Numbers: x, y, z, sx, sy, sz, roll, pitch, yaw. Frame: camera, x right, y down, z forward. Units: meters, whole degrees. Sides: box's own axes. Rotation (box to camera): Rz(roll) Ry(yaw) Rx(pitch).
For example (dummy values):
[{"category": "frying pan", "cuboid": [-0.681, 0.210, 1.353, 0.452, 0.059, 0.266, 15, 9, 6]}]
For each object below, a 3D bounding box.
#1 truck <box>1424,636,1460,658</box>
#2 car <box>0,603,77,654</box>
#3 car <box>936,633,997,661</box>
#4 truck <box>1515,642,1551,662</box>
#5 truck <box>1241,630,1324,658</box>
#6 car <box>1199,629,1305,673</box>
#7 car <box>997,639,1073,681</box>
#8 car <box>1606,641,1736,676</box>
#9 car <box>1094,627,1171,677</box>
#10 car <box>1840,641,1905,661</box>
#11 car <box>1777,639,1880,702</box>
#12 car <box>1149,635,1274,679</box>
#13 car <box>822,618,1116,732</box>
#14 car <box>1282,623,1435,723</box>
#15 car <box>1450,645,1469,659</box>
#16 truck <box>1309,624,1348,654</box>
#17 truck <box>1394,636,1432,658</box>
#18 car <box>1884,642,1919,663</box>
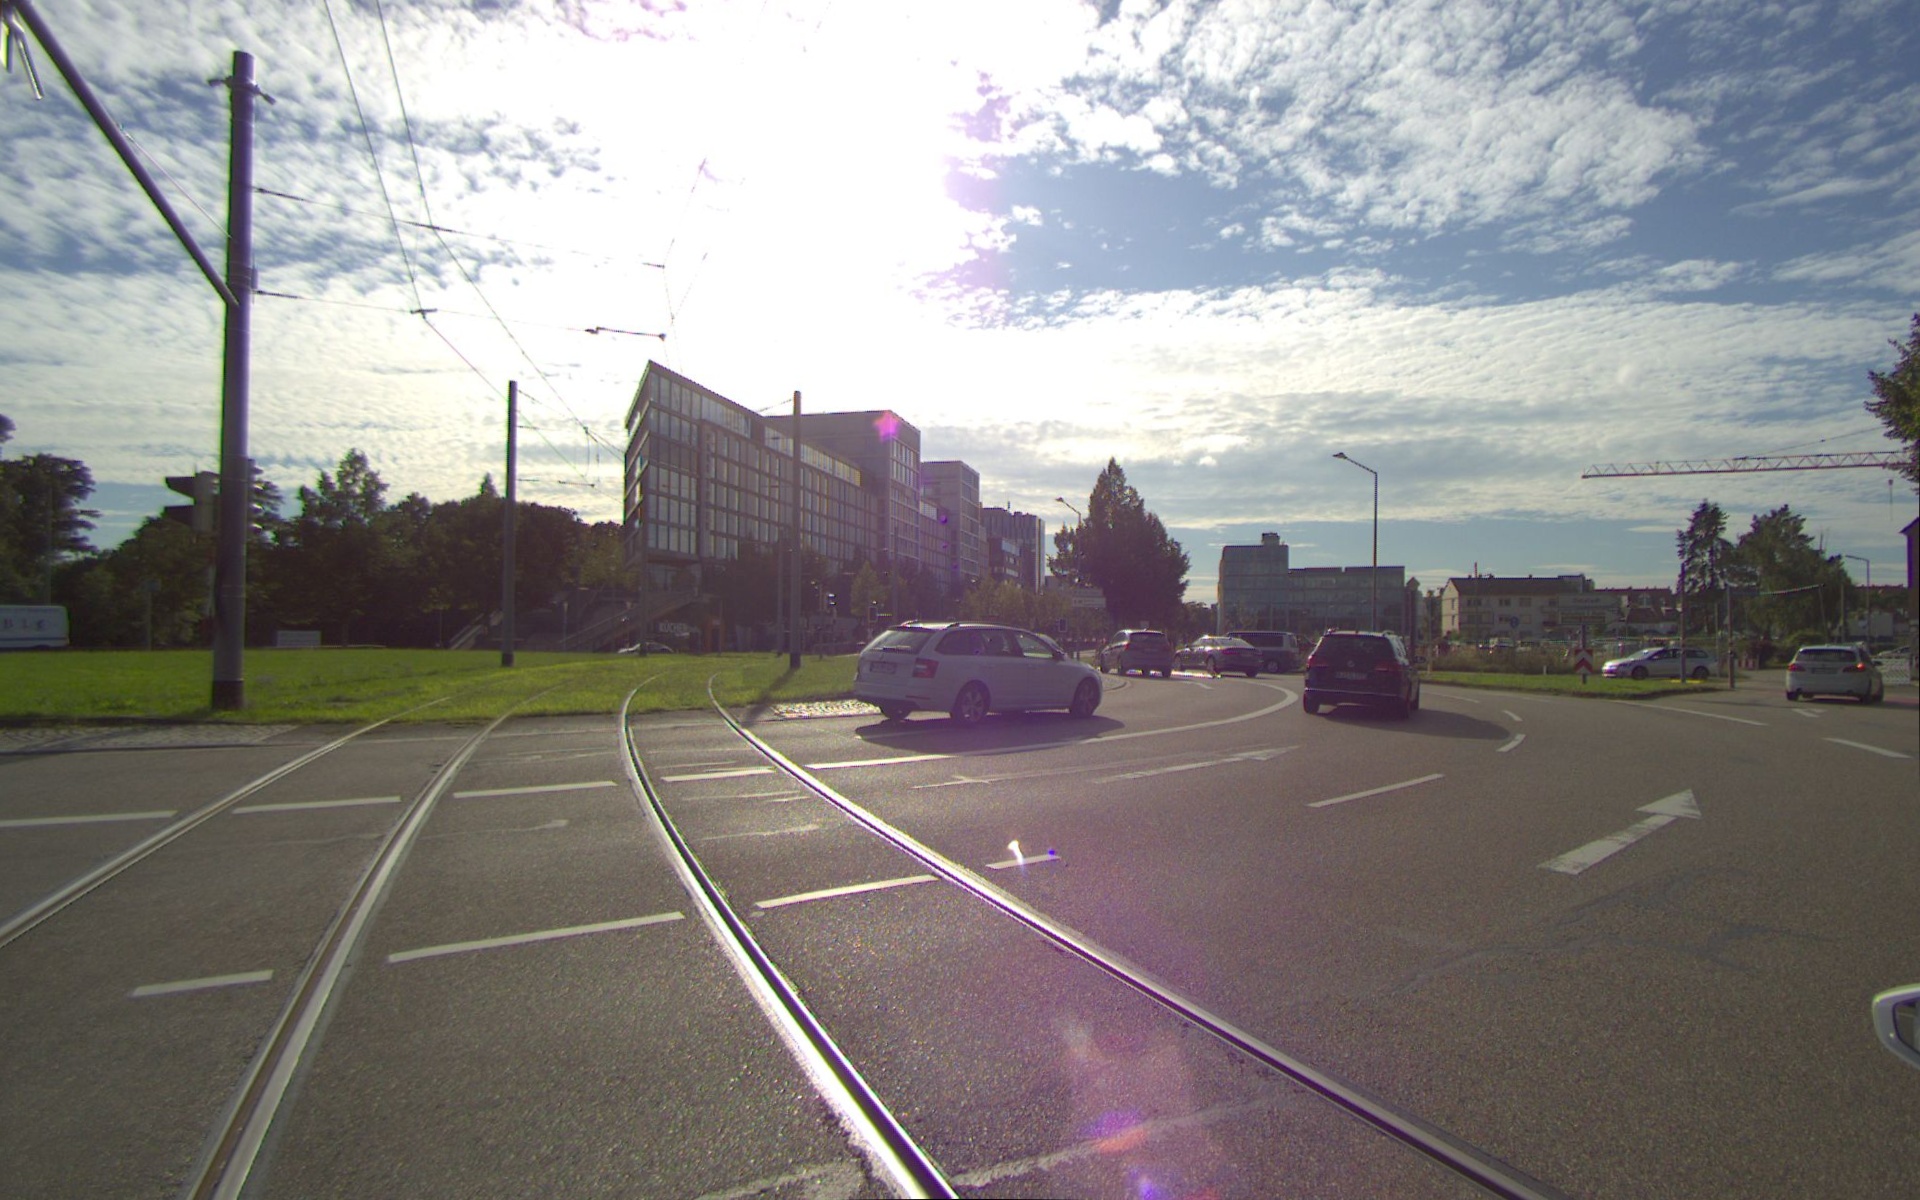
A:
[{"category": "truck", "cuboid": [52.828, 5.140, 110.094, 2.021, 2.358, 5.643, 1, -2, 9]}, {"category": "car", "cuboid": [-44.838, 1.303, 46.195, 2.030, 2.293, 6.013, -3, -4, 30]}, {"category": "car", "cuboid": [0.346, 2.789, 60.468, 1.832, 1.497, 4.425, 2, -1, -26]}, {"category": "truck", "cuboid": [66.074, 6.011, 115.961, 1.940, 2.200, 5.410, 0, -2, 10]}, {"category": "truck", "cuboid": [32.291, 4.402, 100.963, 7.700, 2.601, 3.077, 0, -2, 13]}, {"category": "car", "cuboid": [14.080, 2.428, 48.510, 4.582, 1.928, 1.897, 1, -1, 34]}, {"category": "car", "cuboid": [3.278, 2.641, 44.684, 1.969, 1.561, 3.983, 2, 0, -19]}, {"category": "car", "cuboid": [31.161, 2.554, 44.108, 4.452, 1.471, 1.824, 1, -2, 0]}, {"category": "car", "cuboid": [5.914, 1.755, 34.874, 1.739, 1.593, 4.066, 1, -1, -3]}, {"category": "car", "cuboid": [76.767, 4.277, 84.601, 3.941, 1.639, 1.765, -1, -3, 41]}, {"category": "car", "cuboid": [25.001, 1.958, 28.857, 4.424, 1.593, 1.833, 2, -1, -44]}, {"category": "car", "cuboid": [9.585, 2.141, 38.632, 1.882, 1.450, 4.617, 2, -1, -34]}, {"category": "car", "cuboid": [0.289, 1.062, 15.453, 1.832, 1.464, 4.609, 0, -1, 45]}, {"category": "car", "cuboid": [7.671, 1.280, 19.015, 1.965, 1.587, 4.835, 1, -1, 30]}, {"category": "car", "cuboid": [72.033, 7.501, 144.837, 1.960, 1.884, 4.001, 0, -2, 19]}, {"category": "truck", "cuboid": [40.959, 4.356, 111.788, 2.759, 3.249, 7.322, 1, -2, 9]}, {"category": "truck", "cuboid": [49.866, 5.139, 110.722, 2.287, 2.358, 6.458, 1, -2, 9]}, {"category": "car", "cuboid": [74.907, 4.103, 78.387, 1.758, 1.639, 3.956, 2, -3, -39]}]
